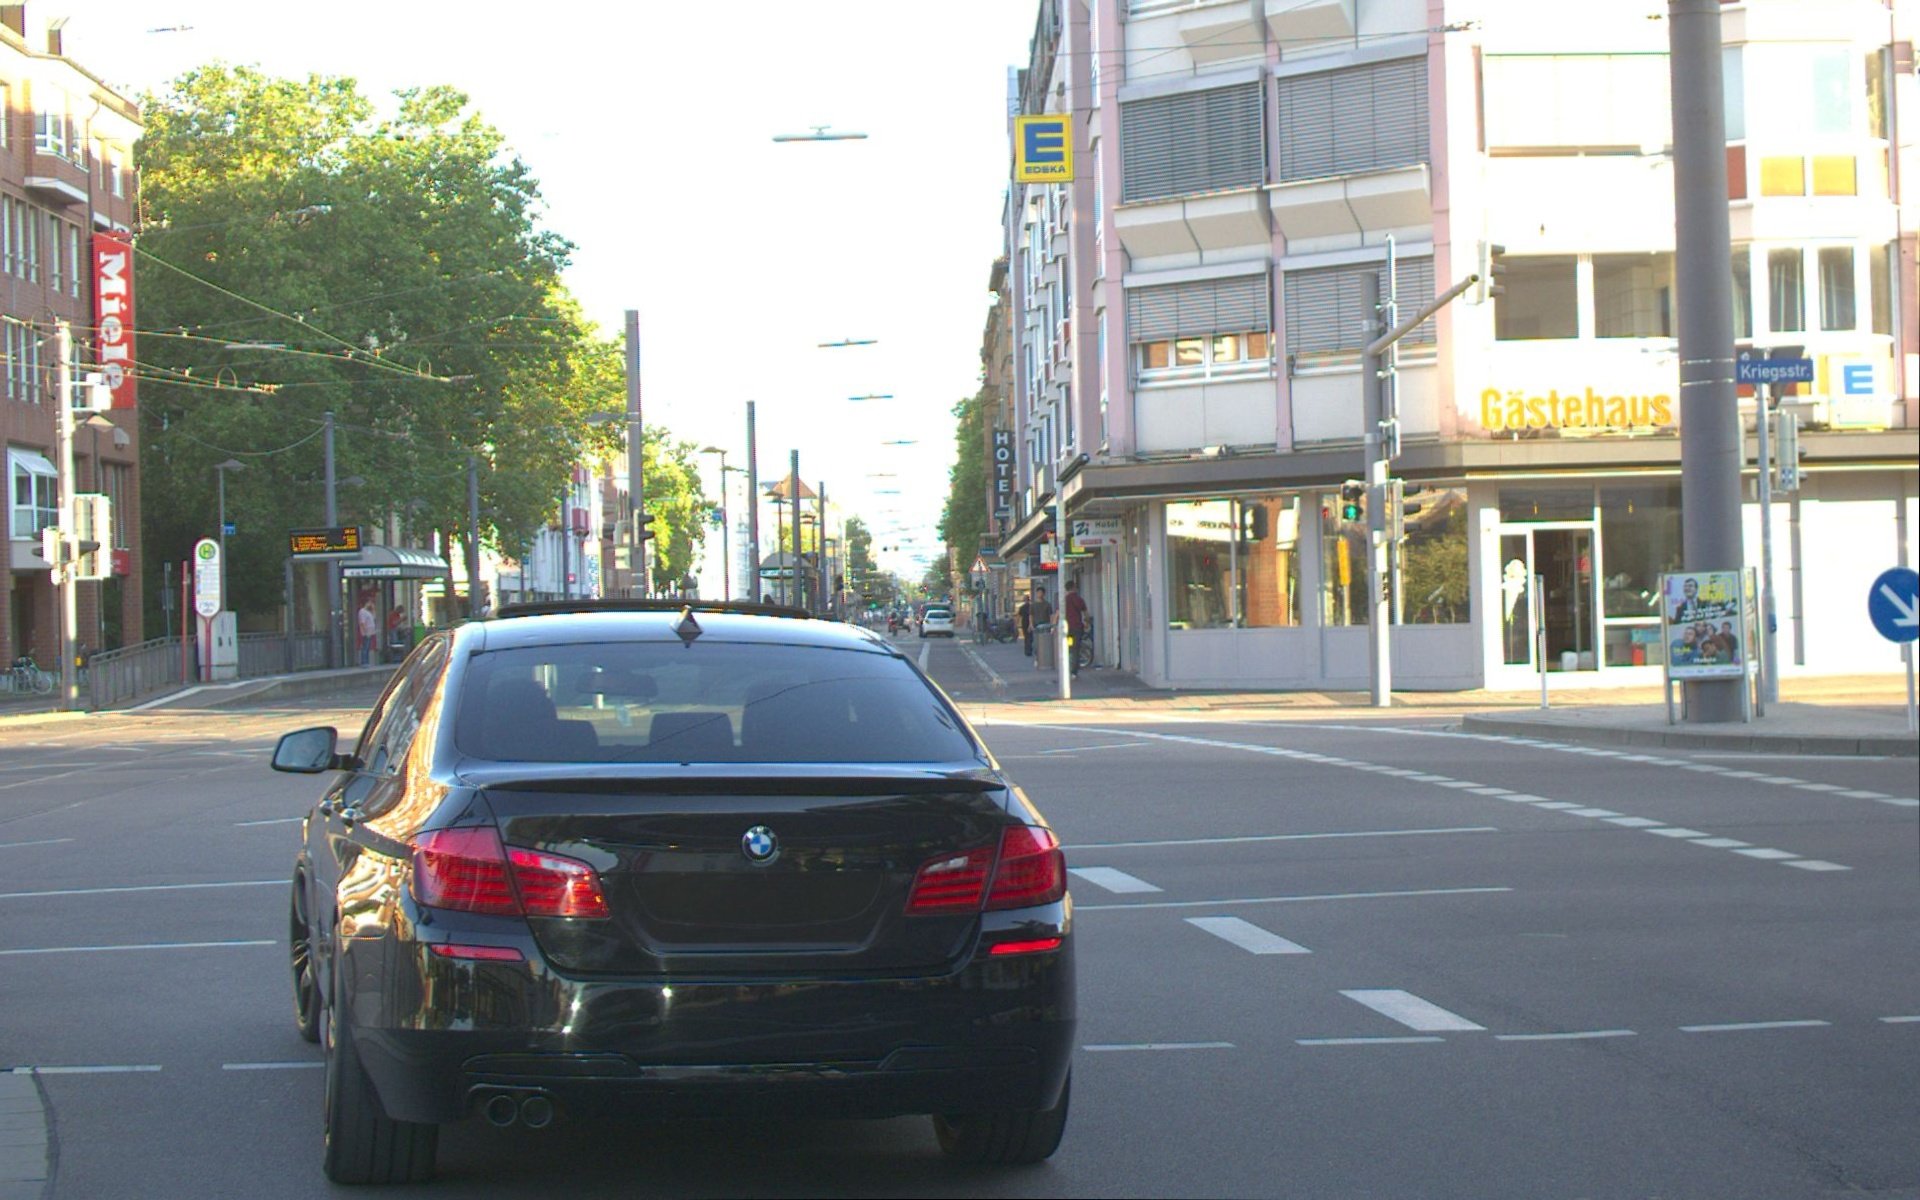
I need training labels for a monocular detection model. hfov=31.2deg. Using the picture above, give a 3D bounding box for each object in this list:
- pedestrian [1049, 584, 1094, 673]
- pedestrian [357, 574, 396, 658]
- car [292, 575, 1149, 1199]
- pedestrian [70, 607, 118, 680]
[{"bbox_3d":[1.994,0.510,61.724,0.705,1.543,0.907,0,3,-4],"label":"pedestrian"},{"bbox_3d":[-14.176,0.383,83.491,0.808,2.007,0.678,-2,0,-4],"label":"pedestrian"},{"bbox_3d":[-0.926,0.695,9.874,1.840,1.490,4.293,1,0,-12],"label":"car"},{"bbox_3d":[-24.040,1.200,95.441,1.084,2.007,1.085,-1,0,-5],"label":"pedestrian"}]
